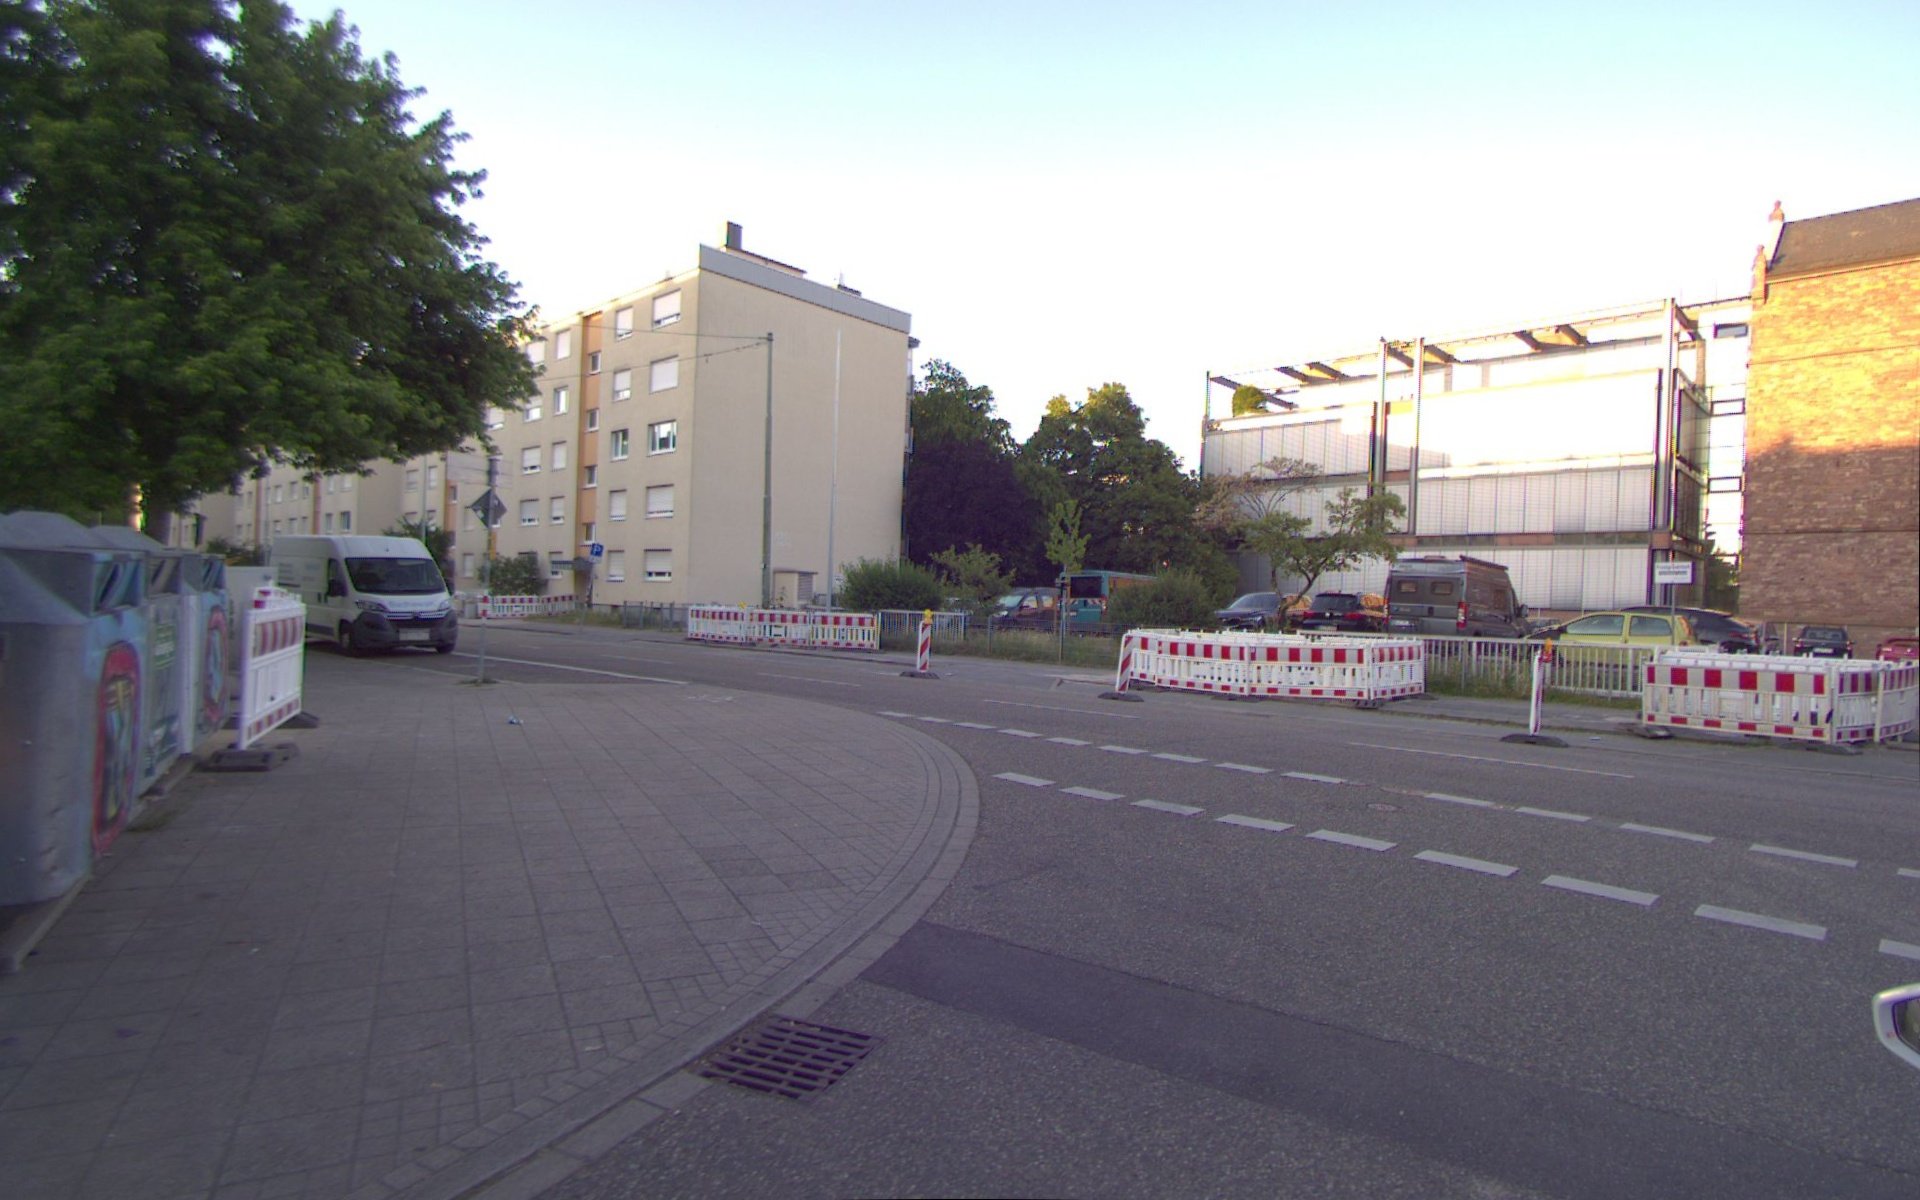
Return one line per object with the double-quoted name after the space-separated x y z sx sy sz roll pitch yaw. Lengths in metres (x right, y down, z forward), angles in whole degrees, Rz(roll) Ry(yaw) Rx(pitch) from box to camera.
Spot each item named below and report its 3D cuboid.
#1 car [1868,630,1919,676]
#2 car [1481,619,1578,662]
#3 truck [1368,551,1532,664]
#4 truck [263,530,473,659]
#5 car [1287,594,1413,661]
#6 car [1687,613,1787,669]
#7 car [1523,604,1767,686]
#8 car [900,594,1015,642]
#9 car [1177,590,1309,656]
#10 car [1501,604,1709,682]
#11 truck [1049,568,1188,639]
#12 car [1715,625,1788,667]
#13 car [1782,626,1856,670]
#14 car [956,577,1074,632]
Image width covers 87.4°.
35.030 1.937 37.201 1.877 1.558 4.153 2 0 45 "car"
20.072 1.403 35.326 1.919 1.323 4.337 2 0 45 "car"
12.839 0.211 26.167 4.941 2.652 2.310 2 0 -45 "truck"
-13.014 -0.171 21.874 5.955 2.455 2.098 2 1 40 "truck"
10.968 0.751 28.138 1.971 1.715 3.978 2 0 42 "car"
24.674 1.261 31.849 1.973 1.597 4.337 2 0 45 "car"
16.128 0.997 23.843 1.565 1.660 4.539 2 0 -43 "car"
-0.037 0.703 37.969 1.972 1.669 4.201 2 0 44 "car"
8.310 0.660 29.263 1.971 1.750 4.277 2 0 42 "car"
14.304 0.903 22.394 1.626 1.524 3.596 2 0 -43 "car"
5.196 0.160 32.536 4.480 2.118 2.086 2 0 -42 "truck"
32.178 1.849 40.794 1.877 1.558 4.153 2 0 45 "car"
33.646 1.842 39.311 1.877 1.558 4.153 2 0 45 "car"
2.051 0.178 36.305 1.972 1.850 4.201 2 0 44 "car"
